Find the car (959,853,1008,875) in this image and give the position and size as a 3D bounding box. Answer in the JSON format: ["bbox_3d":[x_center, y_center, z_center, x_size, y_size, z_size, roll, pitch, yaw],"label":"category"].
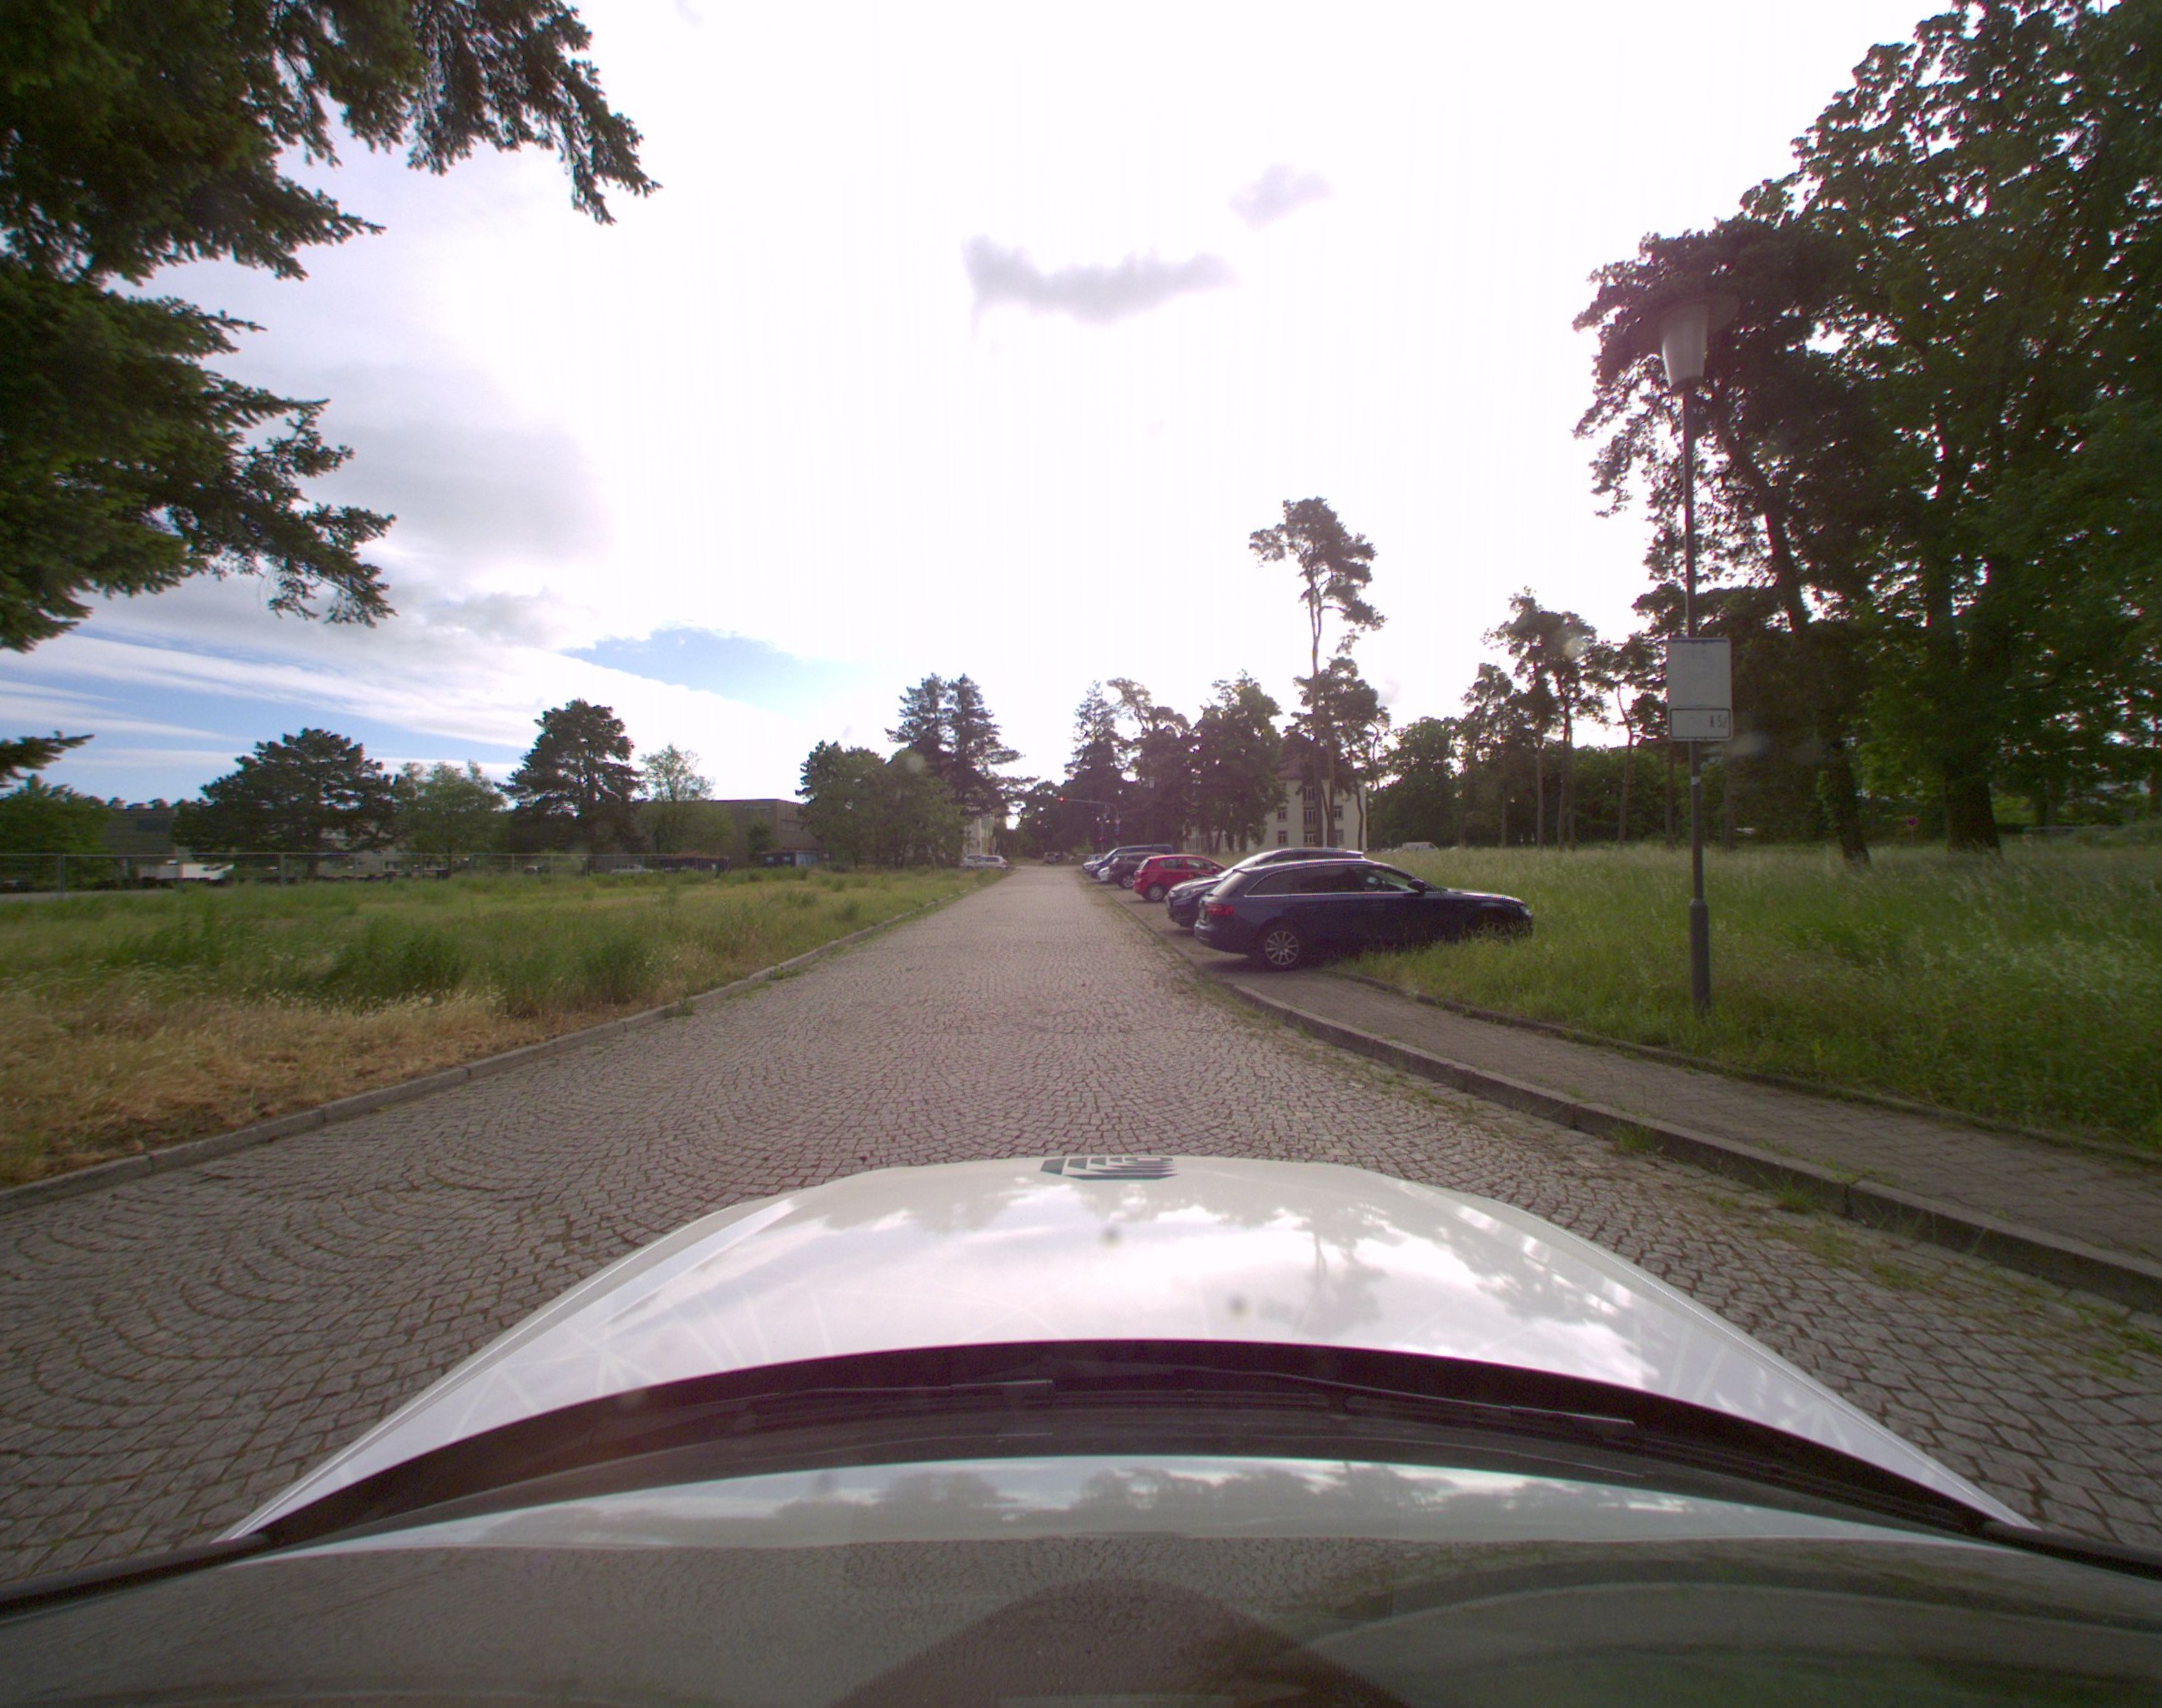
[{"bbox_3d":[-8.807,0.889,73.568,4.294,1.732,1.648,-2,0,-8],"label":"car"}]

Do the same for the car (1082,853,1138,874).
[{"bbox_3d":[2.258,0.737,64.260,4.185,1.437,1.750,-2,0,-10],"label":"car"}]

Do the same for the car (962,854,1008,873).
[{"bbox_3d":[-7.980,0.798,68.202,3.714,1.481,1.670,1,0,-5],"label":"car"}]

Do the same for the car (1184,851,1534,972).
[{"bbox_3d":[3.780,0.756,11.676,4.343,1.439,1.926,-2,0,0],"label":"car"}]

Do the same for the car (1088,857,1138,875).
[{"bbox_3d":[2.315,0.870,59.557,3.576,1.223,1.628,-2,0,-1],"label":"car"}]

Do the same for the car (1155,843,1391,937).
[{"bbox_3d":[3.743,0.667,16.396,4.236,1.622,1.884,-2,0,-4],"label":"car"}]

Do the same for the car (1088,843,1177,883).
[{"bbox_3d":[2.853,0.494,45.874,4.786,2.004,1.963,-2,0,-4],"label":"car"}]

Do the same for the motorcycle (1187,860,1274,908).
[{"bbox_3d":[4.064,0.799,22.221,2.226,1.202,0.567,-2,0,-5],"label":"motorcycle"}]

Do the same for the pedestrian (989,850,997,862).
[{"bbox_3d":[-14.434,0.334,133.487,1.071,1.959,1.120,0,-1,-2],"label":"pedestrian"}]

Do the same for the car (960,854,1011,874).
[{"bbox_3d":[-8.290,0.871,70.785,4.295,1.554,1.807,-2,0,-8],"label":"car"}]

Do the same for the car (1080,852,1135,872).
[{"bbox_3d":[2.190,0.657,67.025,4.233,1.479,1.702,-2,0,-13],"label":"car"}]

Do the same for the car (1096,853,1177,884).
[{"bbox_3d":[2.914,0.751,43.330,4.091,1.479,1.718,-2,0,-5],"label":"car"}]

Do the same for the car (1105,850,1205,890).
[{"bbox_3d":[3.312,0.703,36.990,4.196,1.595,1.950,-2,0,-5],"label":"car"}]

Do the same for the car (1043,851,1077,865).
[{"bbox_3d":[-3.547,0.667,136.259,5.384,2.101,2.168,-1,0,-15],"label":"car"}]

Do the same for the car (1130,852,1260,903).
[{"bbox_3d":[3.684,0.738,26.699,3.915,1.496,1.782,-2,0,-4],"label":"car"}]

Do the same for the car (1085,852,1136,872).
[{"bbox_3d":[2.516,0.670,69.593,4.132,1.463,1.629,-2,0,-8],"label":"car"}]

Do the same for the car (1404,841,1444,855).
[{"bbox_3d":[52.525,-0.942,124.870,5.285,2.019,2.104,0,0,-2],"label":"car"}]
